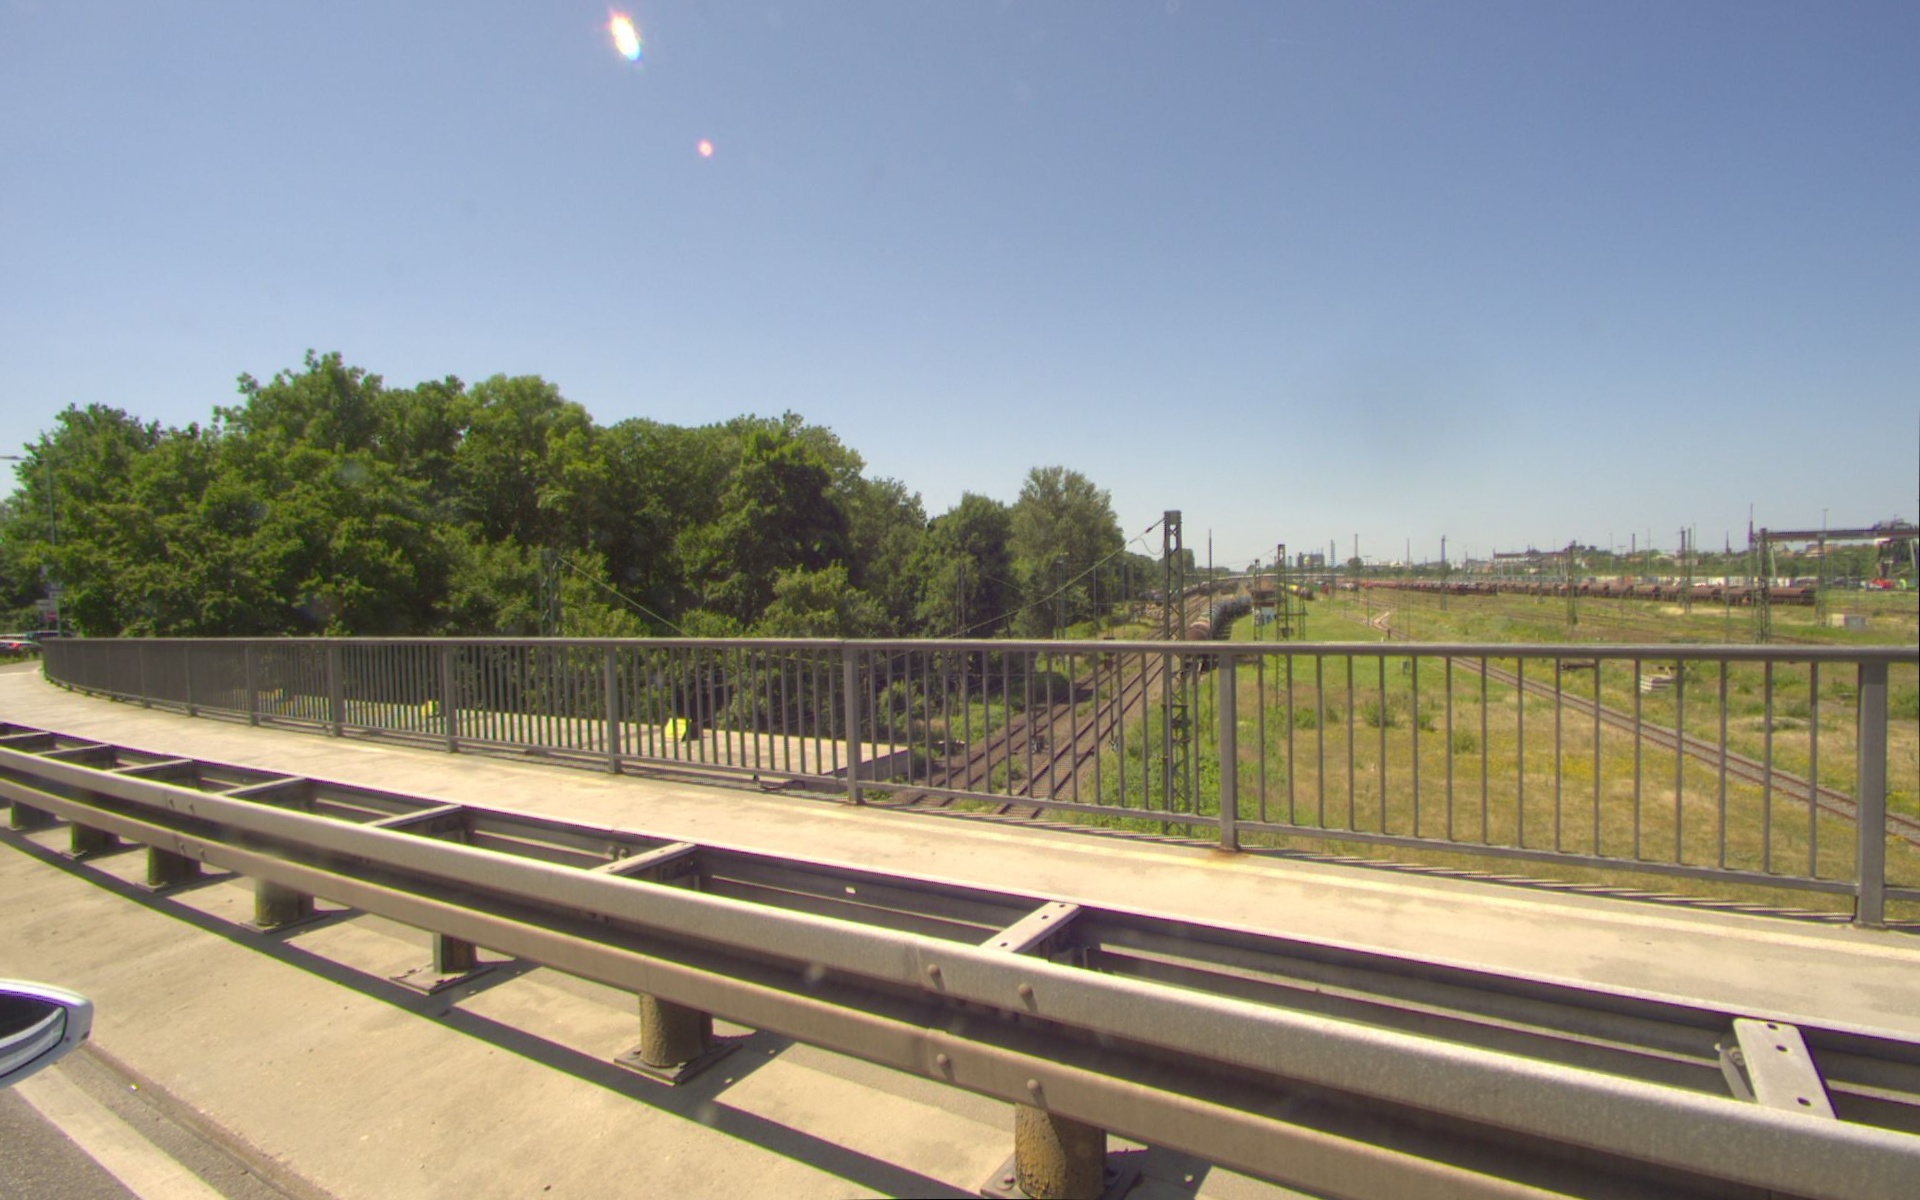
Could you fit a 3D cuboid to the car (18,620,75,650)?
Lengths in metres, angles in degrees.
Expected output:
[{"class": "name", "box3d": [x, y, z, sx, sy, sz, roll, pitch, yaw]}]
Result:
[{"class": "car", "box3d": [-56.338, 2.139, 61.807, 1.666, 1.783, 3.982, 0, -2, -29]}]

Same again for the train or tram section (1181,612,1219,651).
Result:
[{"class": "train or tram section", "box3d": [32.057, 4.061, 133.176, 3.783, 4.366, 13.603, -2, 1, 18]}]

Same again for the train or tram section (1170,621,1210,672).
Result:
[{"class": "train or tram section", "box3d": [24.621, 4.854, 106.986, 3.781, 4.366, 13.612, -2, 1, 14]}]

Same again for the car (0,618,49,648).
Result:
[{"class": "car", "box3d": [-52.953, 1.872, 56.145, 1.972, 1.594, 3.981, 2, -4, -31]}]

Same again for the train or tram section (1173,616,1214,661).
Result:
[{"class": "train or tram section", "box3d": [28.167, 4.465, 120.169, 3.783, 4.366, 13.605, -2, 1, 17]}]
